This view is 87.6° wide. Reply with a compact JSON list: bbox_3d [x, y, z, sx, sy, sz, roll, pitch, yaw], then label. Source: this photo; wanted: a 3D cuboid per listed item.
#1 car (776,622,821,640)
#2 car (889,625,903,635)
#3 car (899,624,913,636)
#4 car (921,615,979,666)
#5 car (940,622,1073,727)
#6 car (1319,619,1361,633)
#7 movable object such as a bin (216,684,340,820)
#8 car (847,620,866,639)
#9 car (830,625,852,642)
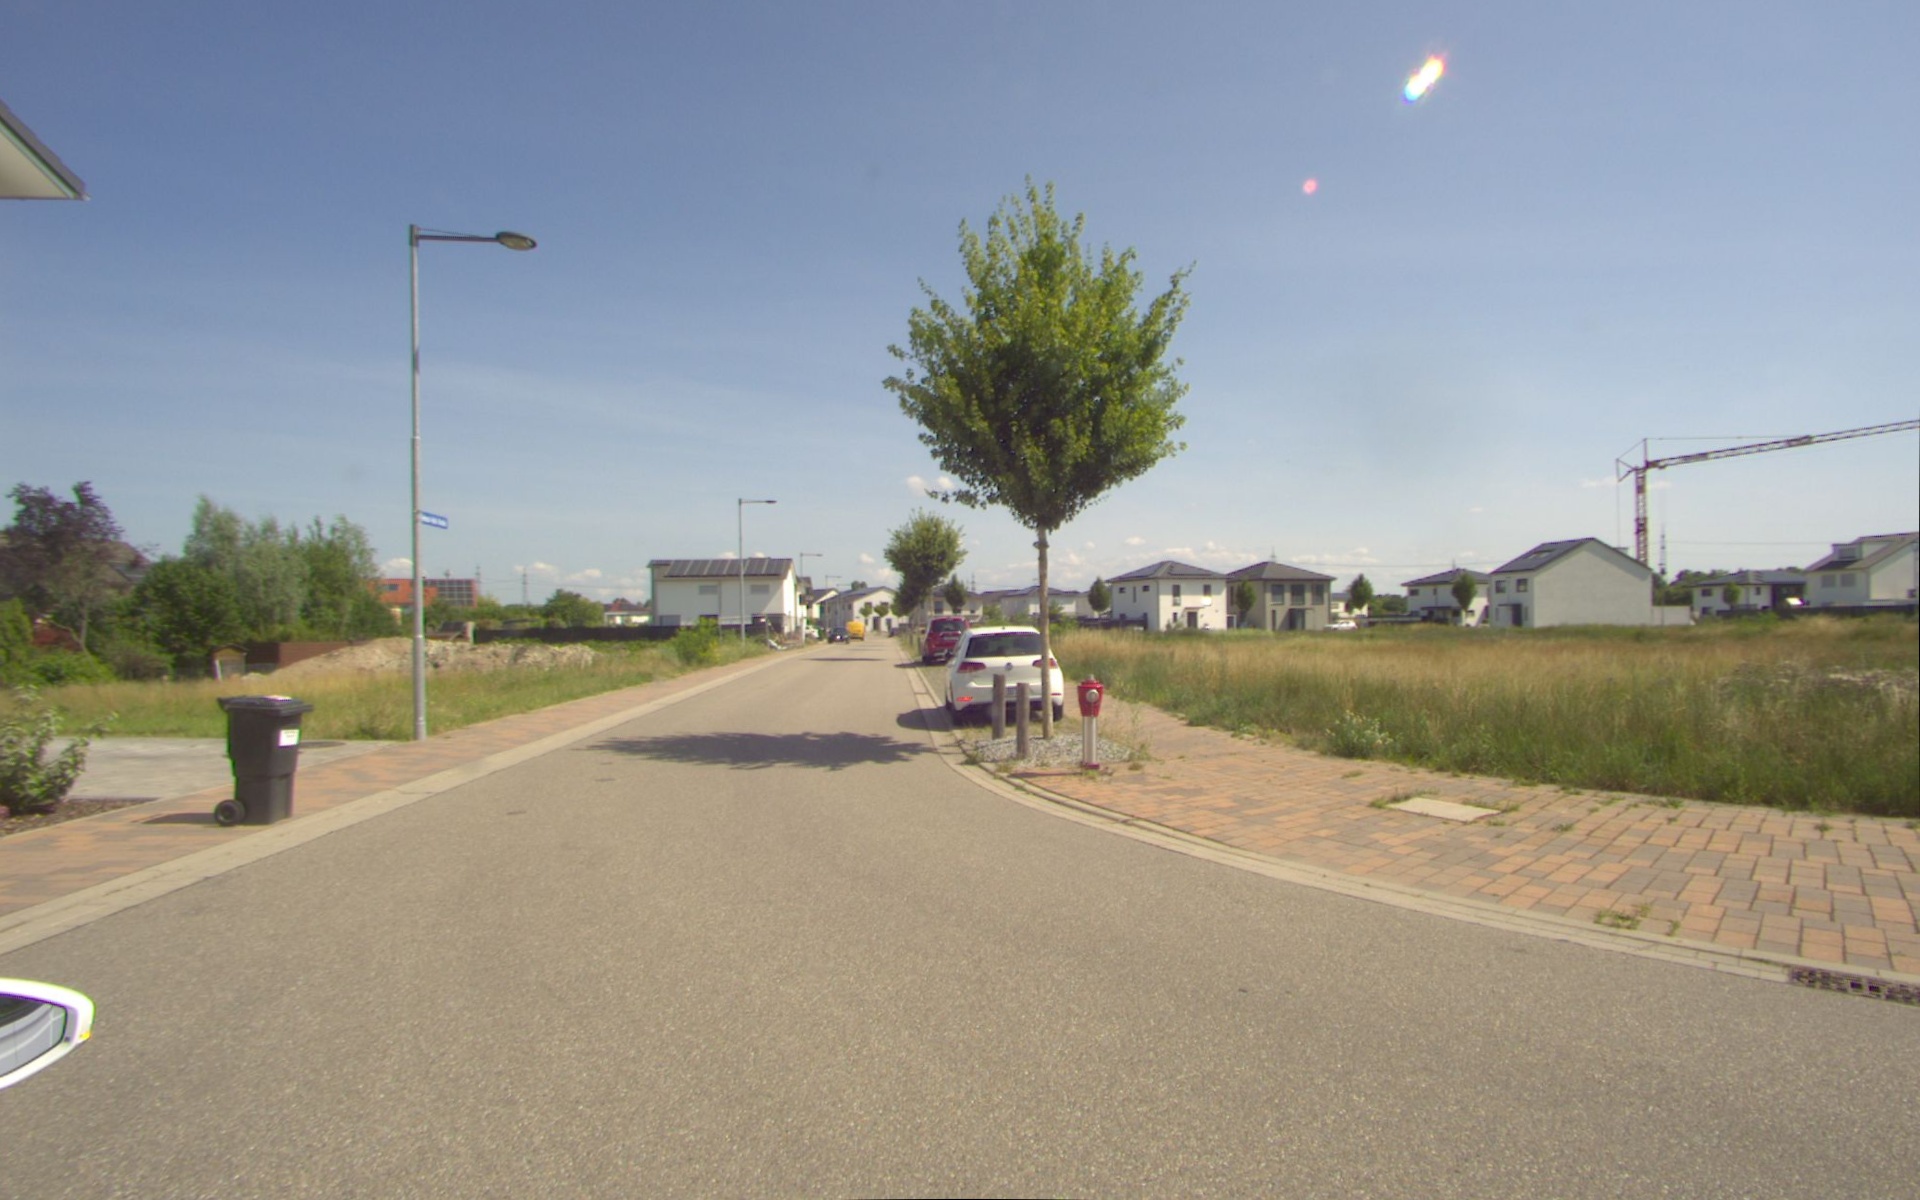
[{"bbox_3d":[-15.785,3.031,97.885,4.002,1.602,1.784,1,0,2],"label":"car"},{"bbox_3d":[-9.433,4.474,146.733,1.602,1.338,3.834,0,-3,-11],"label":"car"},{"bbox_3d":[-6.967,3.846,128.245,1.613,1.420,3.813,0,-3,-5],"label":"car"},{"bbox_3d":[-0.424,1.411,36.303,1.748,1.685,4.433,-2,-1,-5],"label":"car"},{"bbox_3d":[0.646,1.147,16.857,1.746,1.438,4.165,-2,-1,-4],"label":"car"},{"bbox_3d":[40.628,2.746,107.021,3.930,1.416,1.748,0,-2,-18],"label":"car"},{"bbox_3d":[-5.169,1.133,7.613,0.613,0.960,0.500,0,-2,-9],"label":"movable object such as a bin"},{"bbox_3d":[-11.140,3.168,107.857,1.910,2.006,4.218,0,-2,-8],"label":"car"},{"bbox_3d":[-10.392,2.896,87.803,1.717,1.423,4.160,2,-1,-4],"label":"car"}]
